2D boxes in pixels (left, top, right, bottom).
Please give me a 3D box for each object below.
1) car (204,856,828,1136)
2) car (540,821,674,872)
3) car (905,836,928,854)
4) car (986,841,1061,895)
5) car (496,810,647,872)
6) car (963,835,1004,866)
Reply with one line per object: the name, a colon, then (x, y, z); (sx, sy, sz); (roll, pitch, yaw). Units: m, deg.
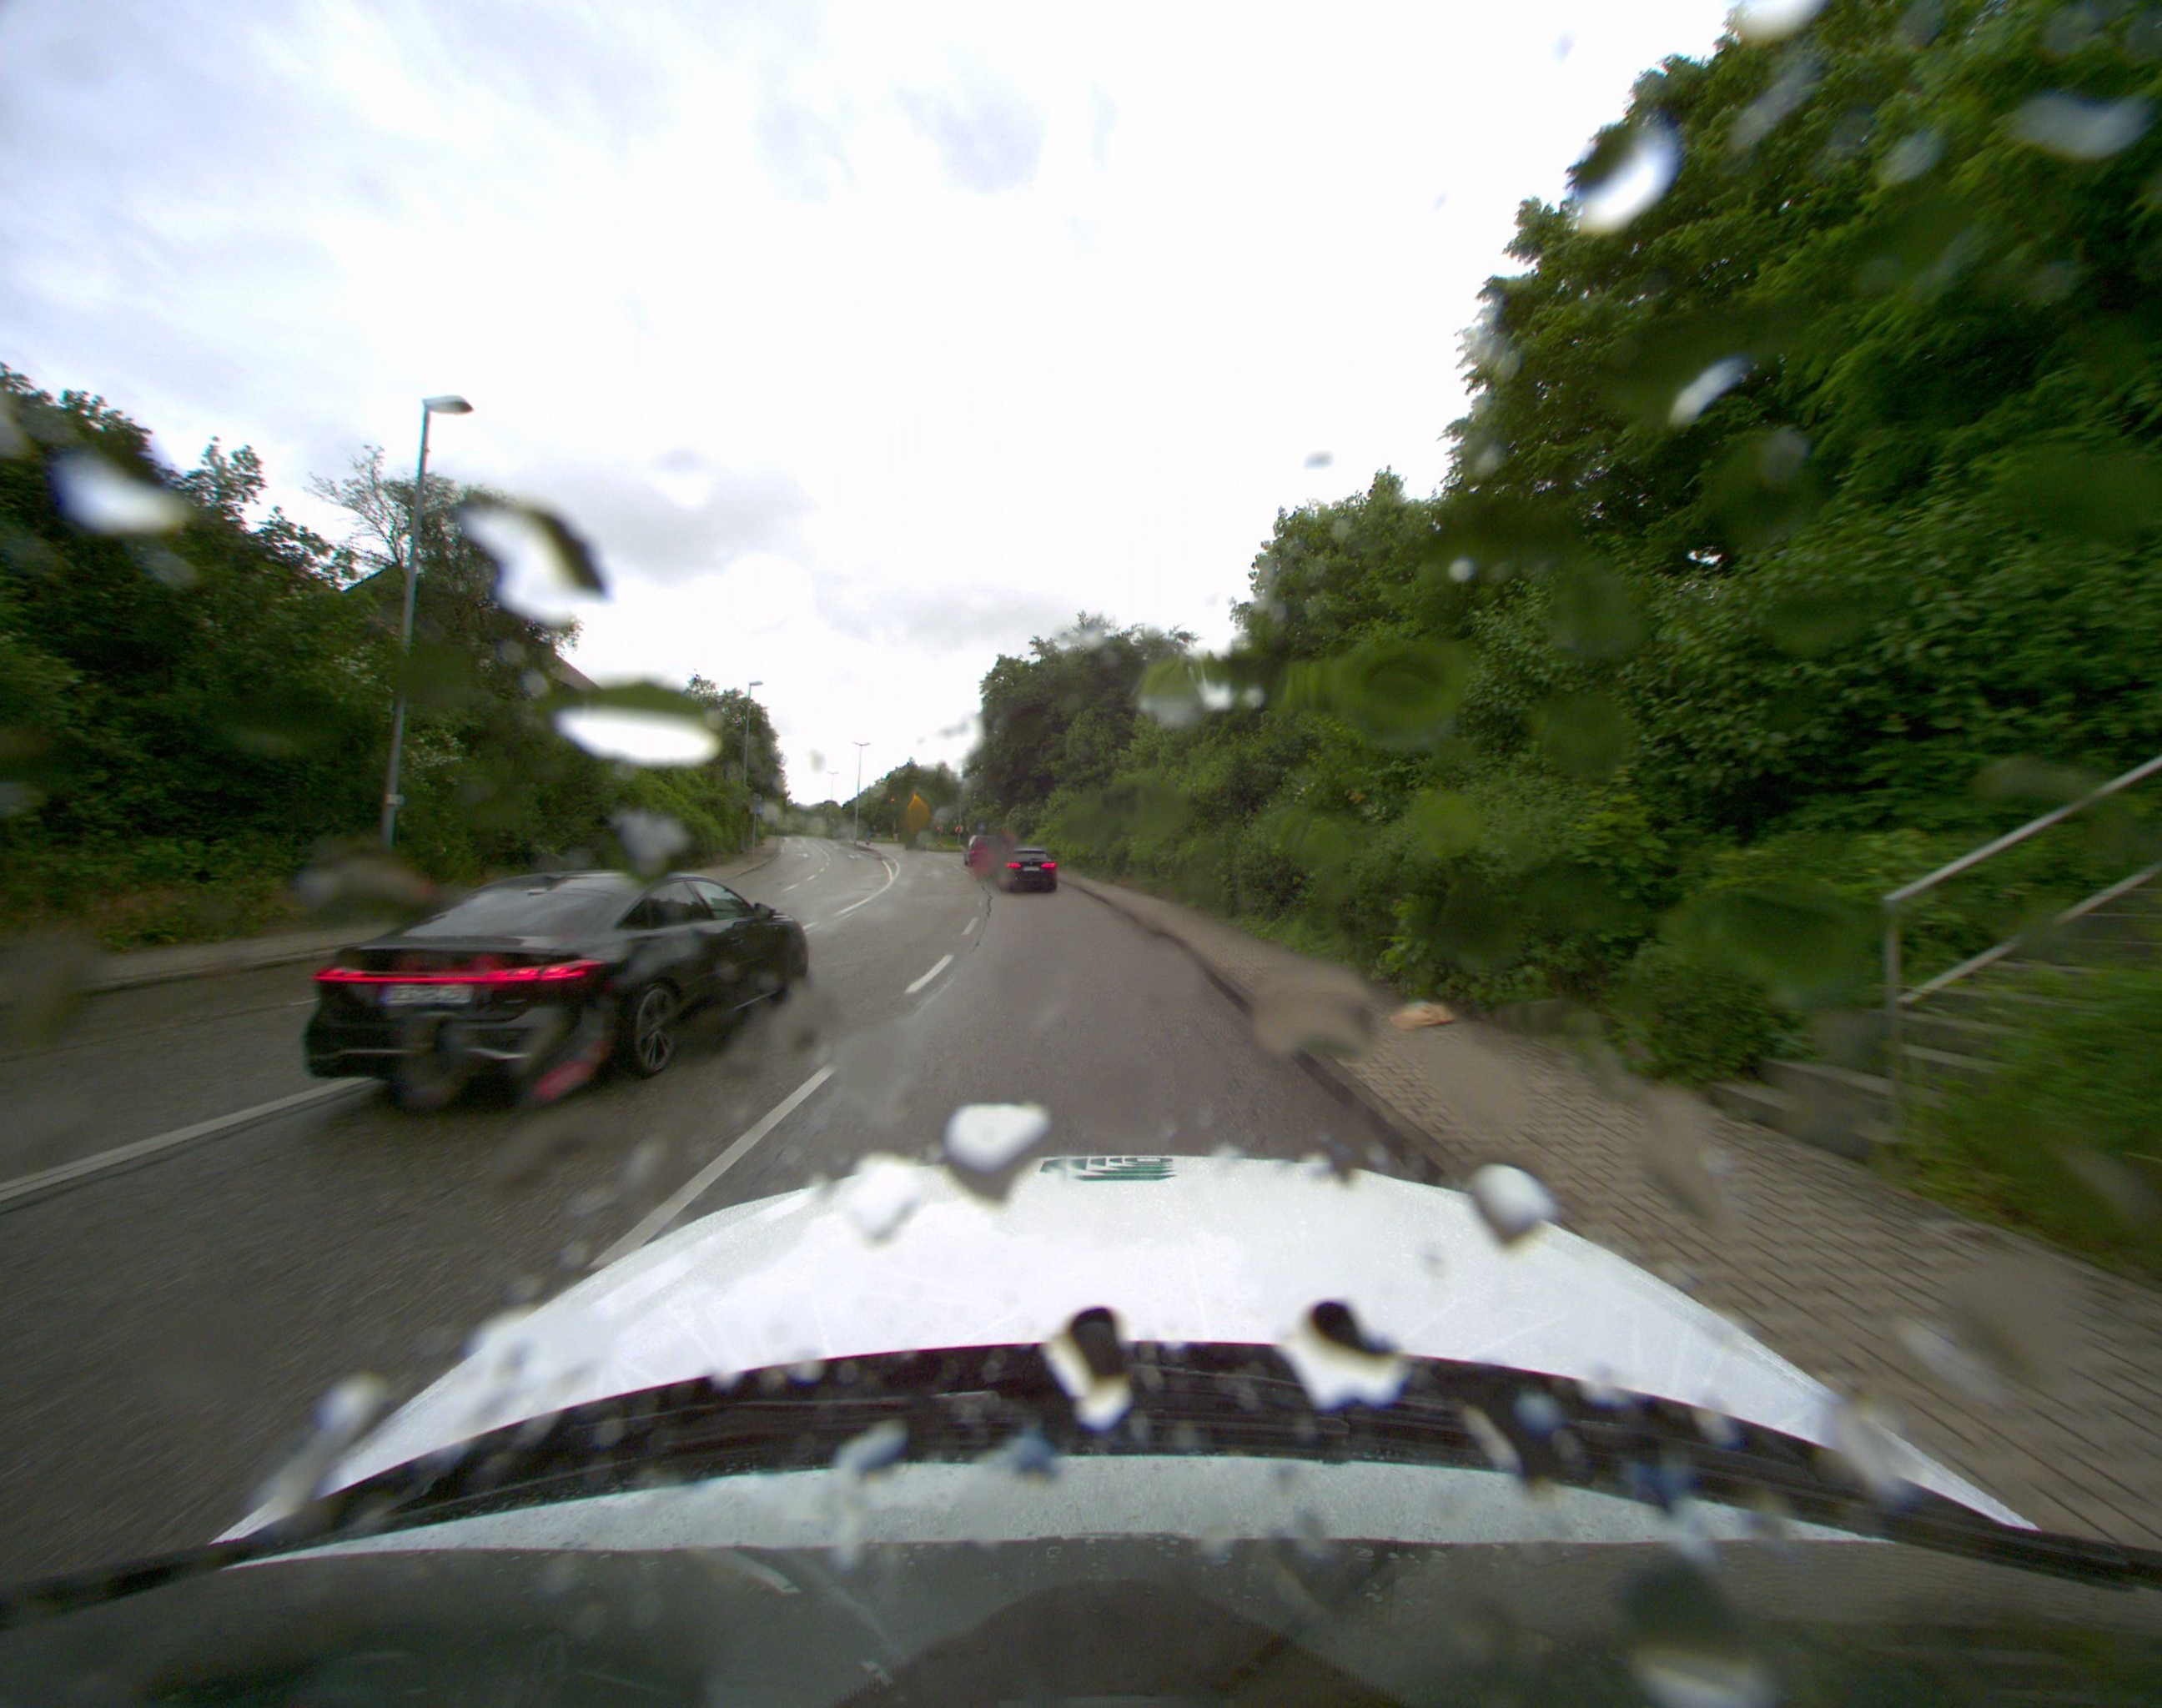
car: (-3.867, 0.793, 6.932); (1.899, 1.398, 4.857); (0, 2, 0)
car: (-18.328, -0.298, 31.677); (3.994, 1.447, 1.846); (7, -1, -16)
car: (-17.071, -0.893, 84.413); (1.857, 1.662, 3.974); (2, -2, -19)
car: (-2.081, 0.418, 28.123); (1.995, 1.586, 4.646); (1, 1, -11)
car: (-18.120, -0.435, 29.177); (3.989, 1.679, 1.848); (7, -1, -12)
car: (-5.802, -0.246, 47.934); (1.996, 1.748, 3.983); (0, 1, -13)
